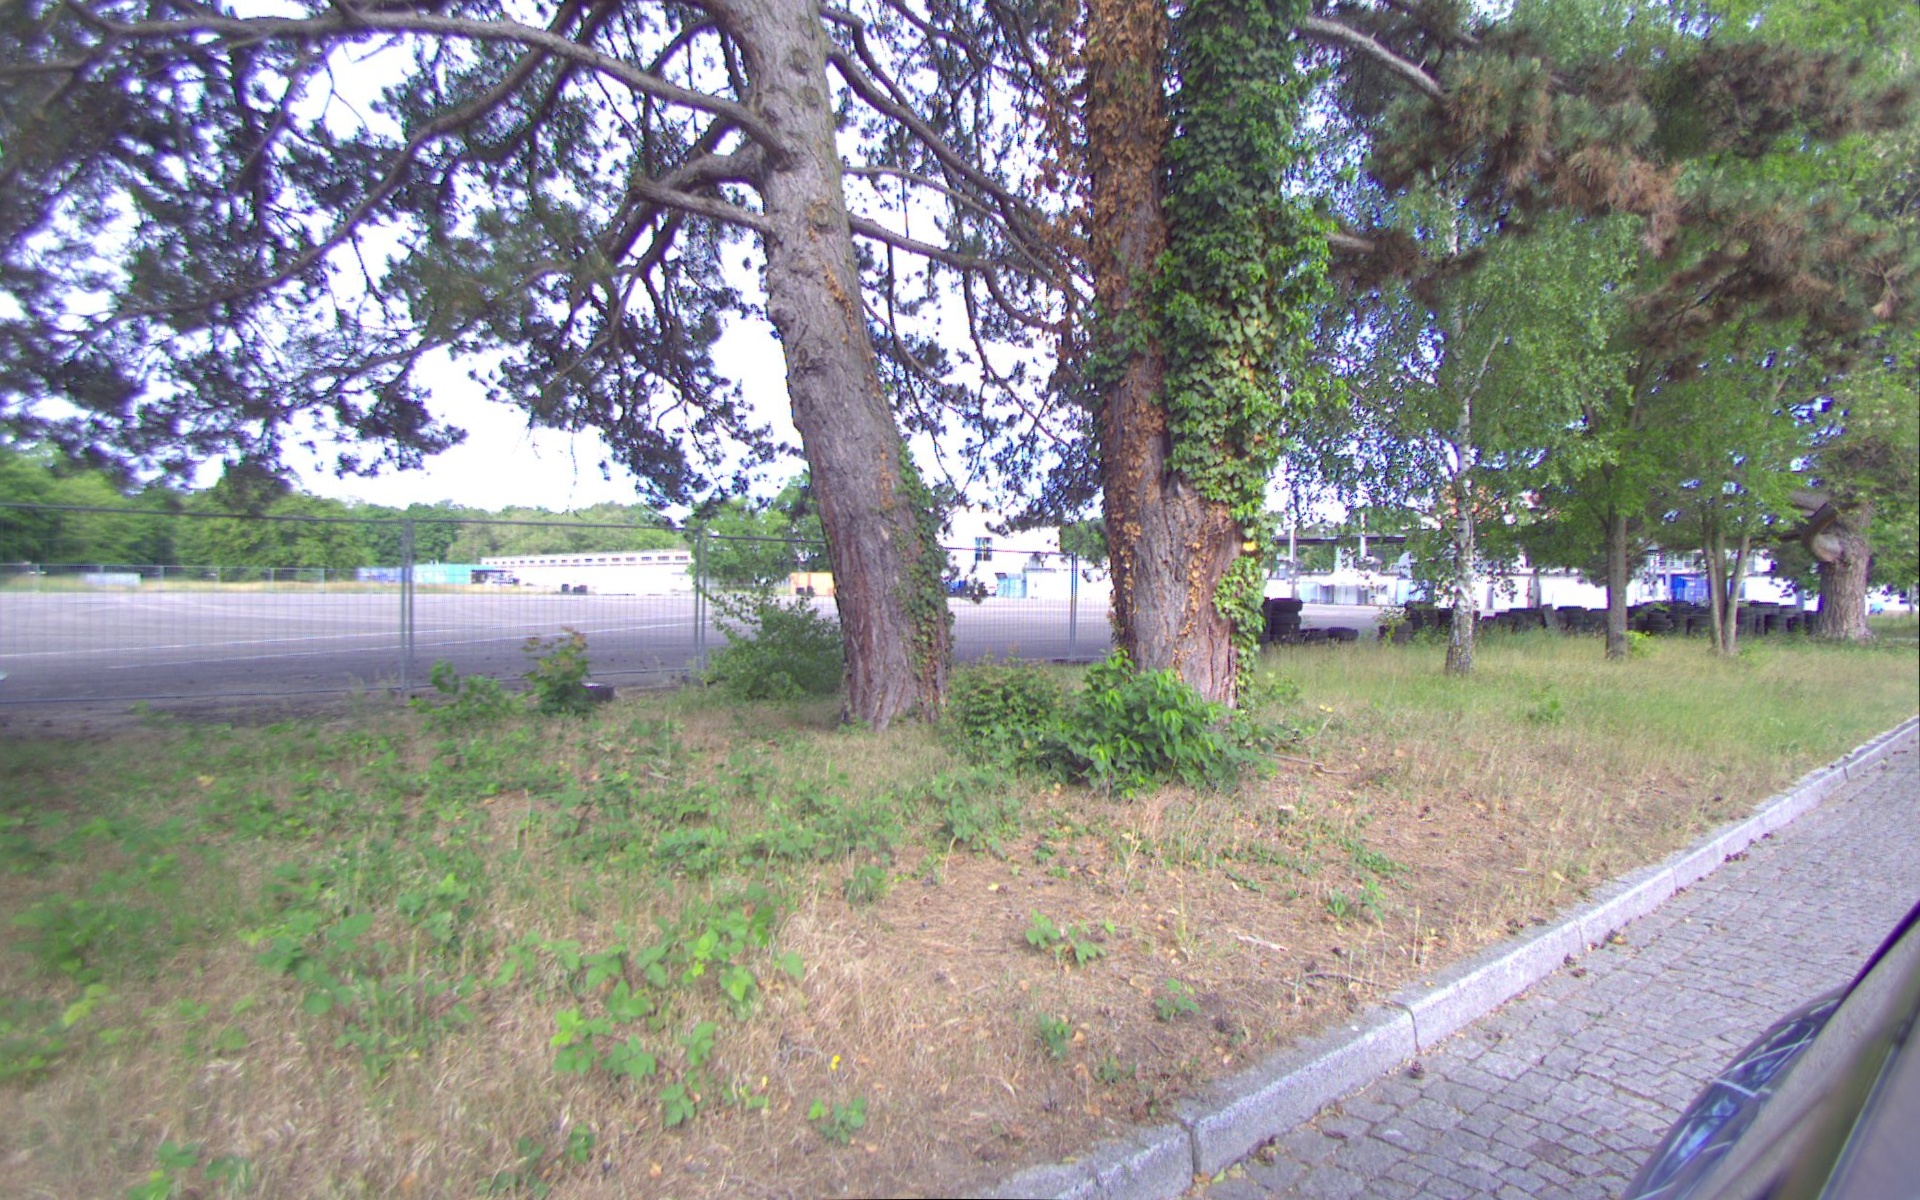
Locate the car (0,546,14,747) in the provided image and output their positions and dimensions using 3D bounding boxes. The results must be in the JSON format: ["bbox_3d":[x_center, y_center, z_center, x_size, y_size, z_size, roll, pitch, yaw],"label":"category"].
[{"bbox_3d":[-8.929,0.362,6.571,4.003,1.445,1.648,0,-2,-42],"label":"car"}]
